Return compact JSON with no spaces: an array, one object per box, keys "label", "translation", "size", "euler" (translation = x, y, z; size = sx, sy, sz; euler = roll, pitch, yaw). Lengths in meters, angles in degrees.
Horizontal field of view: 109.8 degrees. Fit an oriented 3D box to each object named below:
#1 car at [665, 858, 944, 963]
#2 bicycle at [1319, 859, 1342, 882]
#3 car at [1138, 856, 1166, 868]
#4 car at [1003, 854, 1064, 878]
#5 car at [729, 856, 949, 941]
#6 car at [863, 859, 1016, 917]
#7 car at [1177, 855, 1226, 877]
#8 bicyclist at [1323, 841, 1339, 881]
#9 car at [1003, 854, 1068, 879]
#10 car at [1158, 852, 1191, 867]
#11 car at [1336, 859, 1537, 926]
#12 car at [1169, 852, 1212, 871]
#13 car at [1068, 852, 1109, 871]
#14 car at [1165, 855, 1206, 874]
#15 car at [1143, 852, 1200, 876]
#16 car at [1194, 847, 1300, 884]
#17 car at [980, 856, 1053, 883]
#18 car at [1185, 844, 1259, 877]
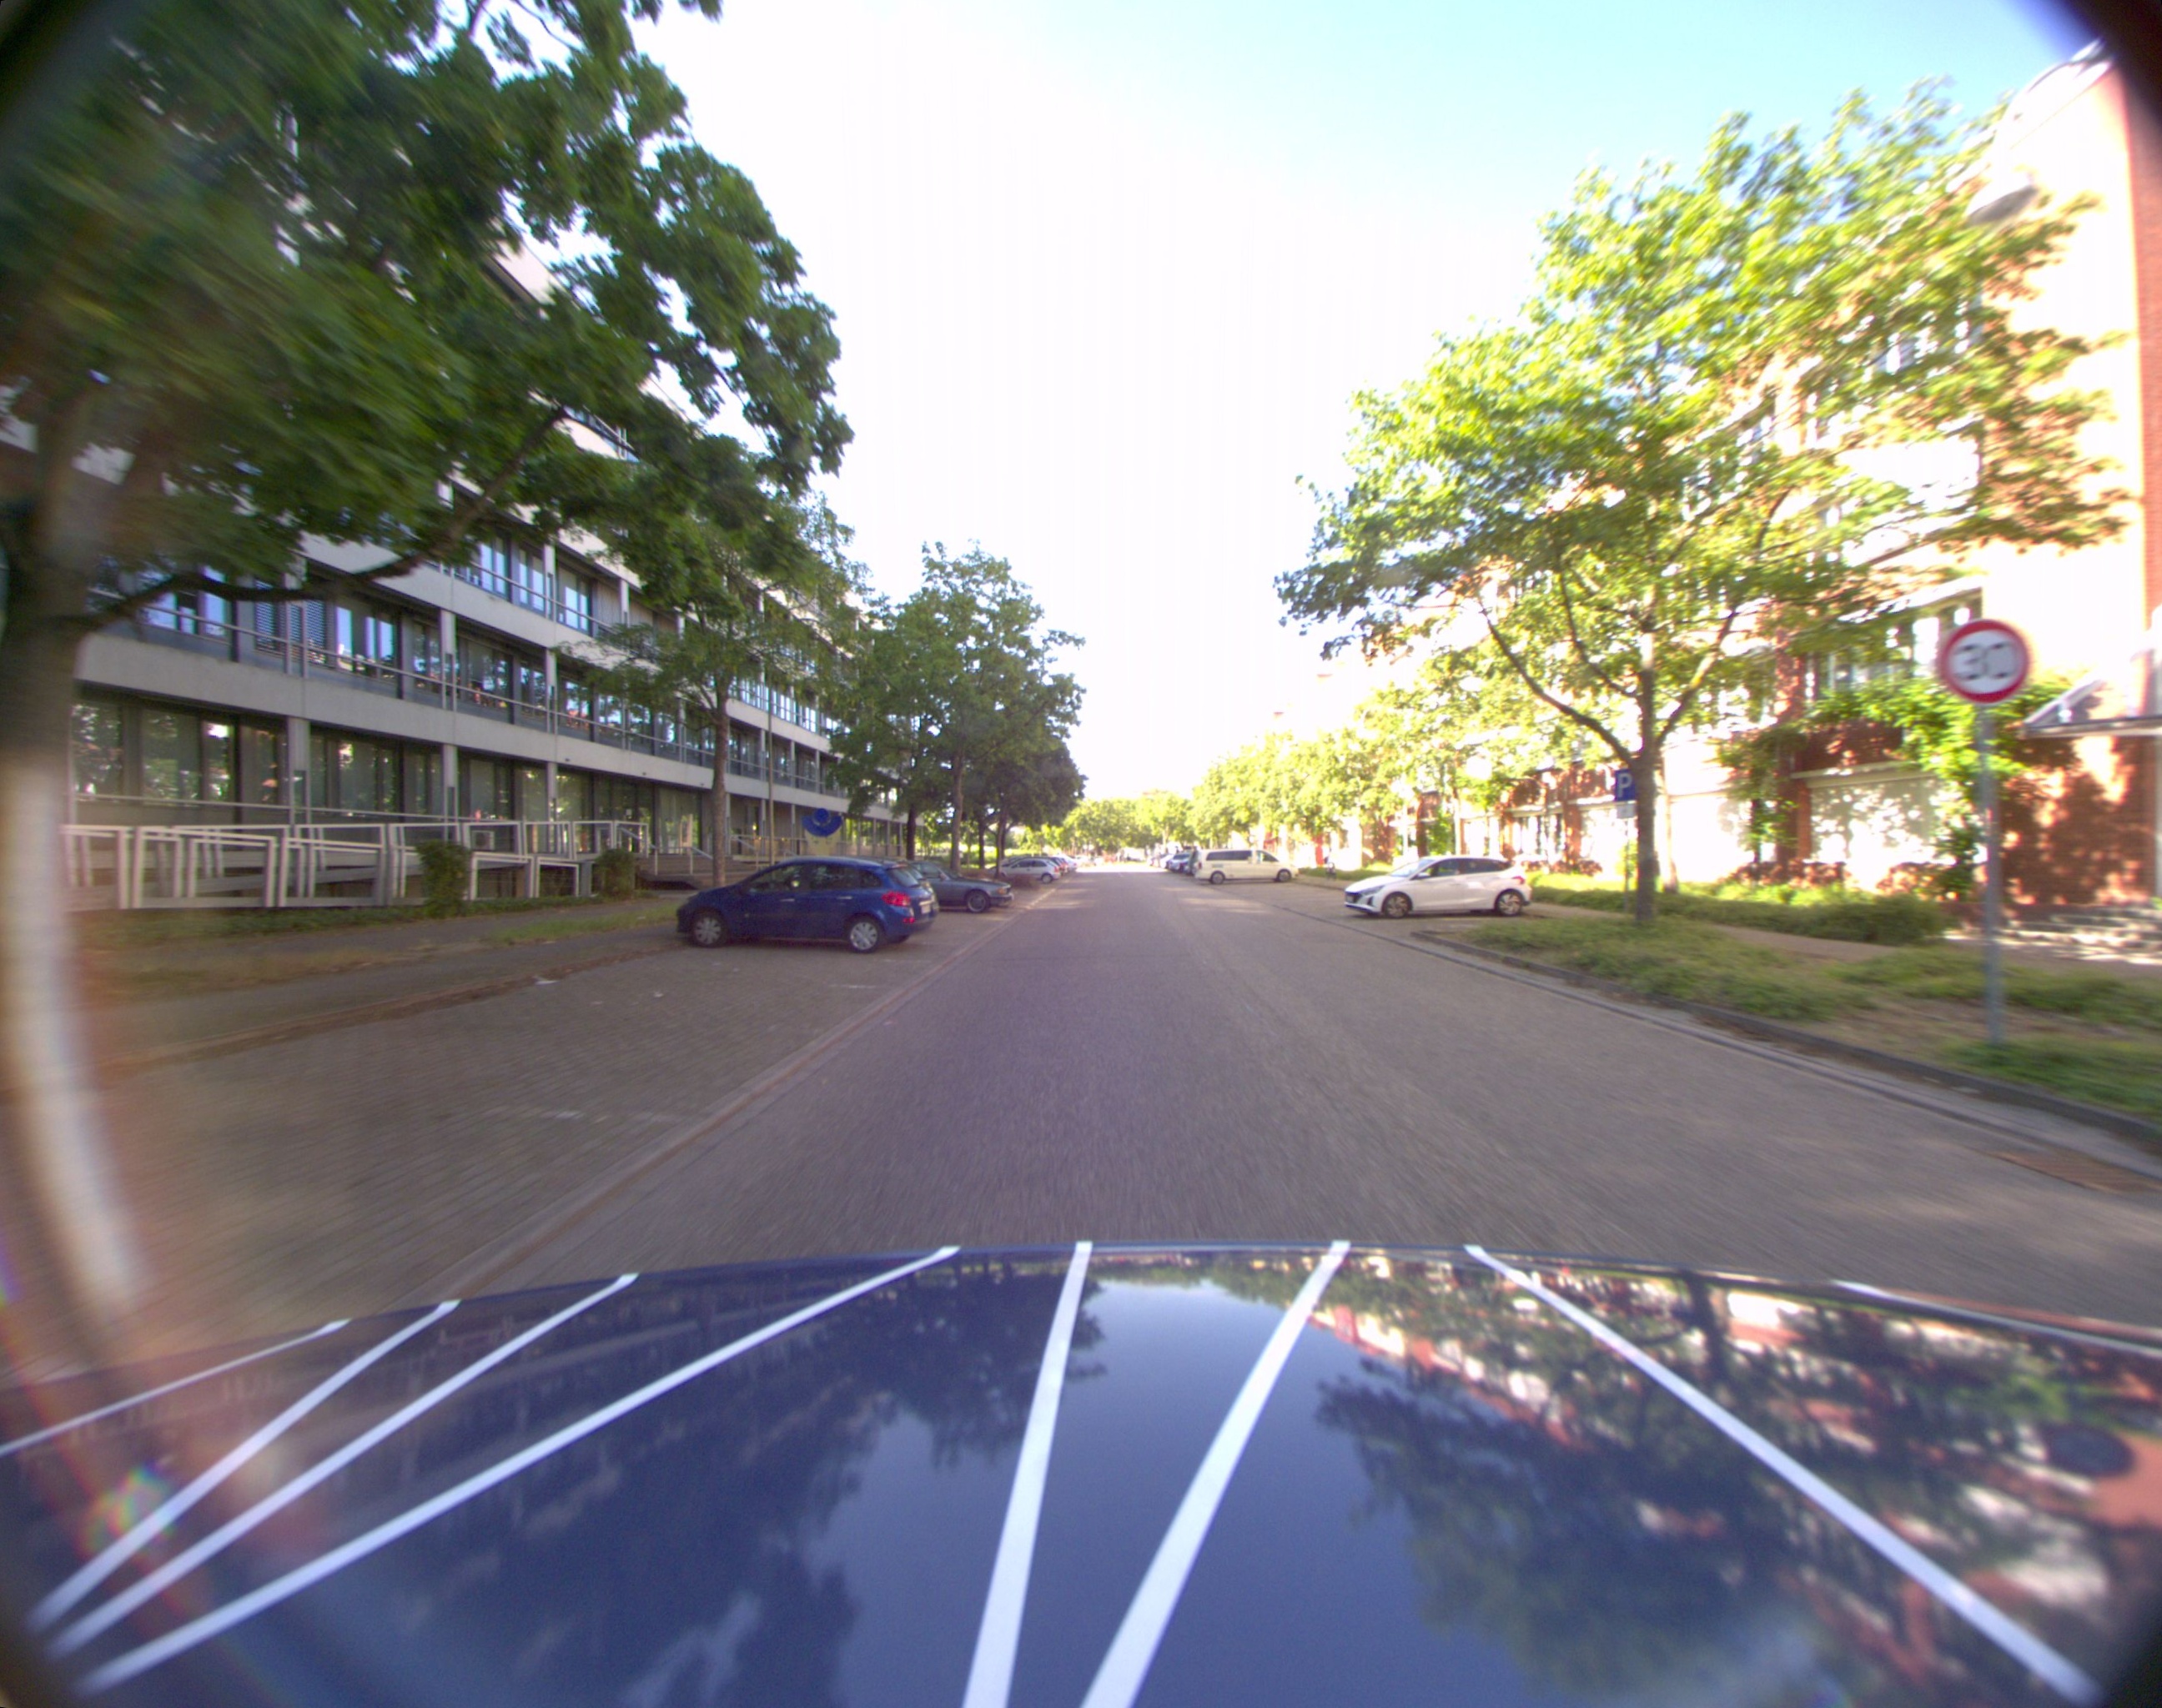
[{"label":"car","translation":[-4.518,0.880,12.740],"size":[3.995,1.486,1.714],"euler":[2,1,5]},{"label":"bicycle","translation":[12.582,0.808,38.328],"size":[0.637,1.092,2.156],"euler":[0,0,6]},{"label":"car","translation":[8.911,0.977,95.742],"size":[3.344,1.464,1.515],"euler":[0,0,2]},{"label":"car","translation":[-3.157,0.771,50.955],"size":[3.997,1.471,1.804],"euler":[1,0,-1]},{"label":"car","translation":[-4.837,0.845,15.462],"size":[3.914,1.486,1.588],"euler":[2,1,5]},{"label":"car","translation":[-3.839,0.916,21.031],"size":[3.916,1.374,1.587],"euler":[2,1,-2]},{"label":"car","translation":[9.087,0.891,57.494],"size":[3.450,1.546,1.595],"euler":[0,0,2]},{"label":"bicyclist","translation":[12.624,0.339,38.363],"size":[0.633,2.002,0.609],"euler":[-2,1,5]},{"label":"car","translation":[-2.875,0.769,48.347],"size":[3.997,1.471,1.804],"euler":[1,0,-1]},{"label":"car","translation":[10.379,0.606,84.279],"size":[3.450,1.647,1.595],"euler":[0,0,2]},{"label":"car","translation":[8.371,0.882,18.128],"size":[4.003,1.411,1.618],"euler":[-1,0,1]},{"label":"car","translation":[9.406,0.652,65.437],"size":[3.450,1.619,1.595],"euler":[0,0,2]},{"label":"car","translation":[0.629,0.665,68.018],"size":[3.554,1.544,1.743],"euler":[1,-2,-1]},{"label":"car","translation":[9.223,0.891,67.438],"size":[3.450,1.647,1.595],"euler":[0,0,2]},{"label":"car","translation":[6.512,0.719,55.000],"size":[4.006,1.637,1.795],"euler":[0,0,3]},{"label":"car","translation":[8.800,0.588,40.649],"size":[5.316,1.875,2.000],"euler":[-1,0,3]},{"label":"car","translation":[-3.619,0.858,43.083],"size":[3.997,1.471,1.804],"euler":[0,0,-1]},{"label":"car","translation":[9.364,0.428,50.850],"size":[4.633,2.156,2.000],"euler":[0,0,3]}]
